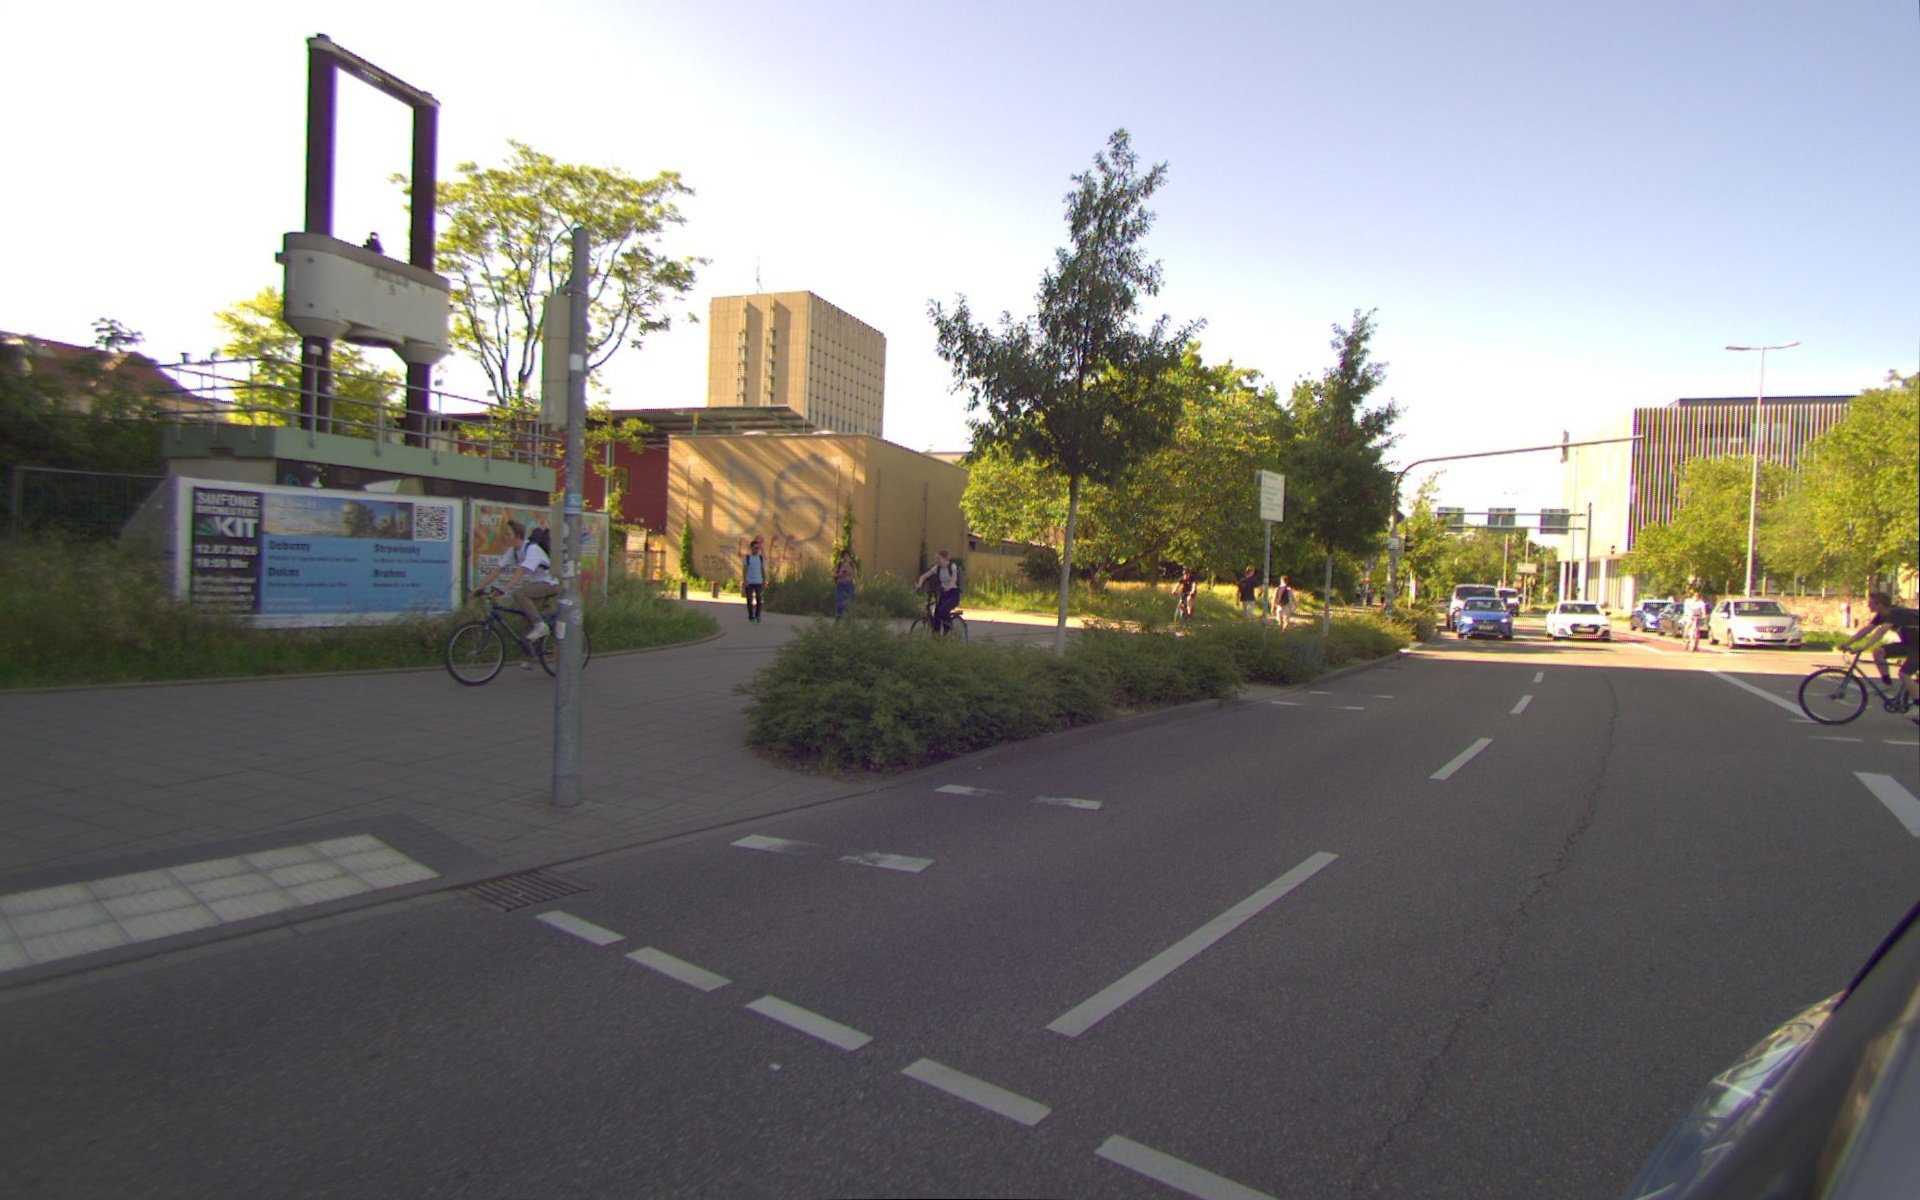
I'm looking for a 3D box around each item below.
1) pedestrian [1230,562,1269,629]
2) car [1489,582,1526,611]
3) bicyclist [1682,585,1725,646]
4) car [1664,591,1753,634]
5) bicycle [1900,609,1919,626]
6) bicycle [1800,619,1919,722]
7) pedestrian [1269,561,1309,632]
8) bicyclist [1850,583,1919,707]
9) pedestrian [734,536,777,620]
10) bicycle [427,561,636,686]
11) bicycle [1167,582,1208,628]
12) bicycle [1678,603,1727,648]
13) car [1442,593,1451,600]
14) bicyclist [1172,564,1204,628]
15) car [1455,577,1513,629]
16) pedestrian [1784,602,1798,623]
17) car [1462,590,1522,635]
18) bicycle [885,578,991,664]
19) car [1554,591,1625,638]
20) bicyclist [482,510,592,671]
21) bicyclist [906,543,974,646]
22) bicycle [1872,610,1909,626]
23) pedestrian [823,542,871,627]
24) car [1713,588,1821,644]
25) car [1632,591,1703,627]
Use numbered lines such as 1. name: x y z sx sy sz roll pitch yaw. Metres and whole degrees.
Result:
1. pedestrian: 7.938 -0.122 27.764 0.728 1.804 0.725 2 -1 40
2. car: 38.507 -0.250 71.238 1.919 1.977 4.493 1 1 25
3. bicyclist: 21.887 0.438 29.823 0.738 1.705 0.970 3 3 24
4. car: 29.685 0.445 40.300 1.964 1.574 4.682 1 1 26
5. bicycle: 64.616 1.203 68.197 0.782 1.090 2.081 3 -1 7
6. bicycle: 11.530 0.861 12.338 1.848 1.180 0.638 1 0 22
7. pedestrian: 8.742 -0.094 26.918 0.728 1.839 0.725 2 -1 40
8. bicyclist: 11.595 0.543 12.314 0.942 1.462 0.638 2 0 22
9. pedestrian: -4.185 -0.441 20.683 0.663 1.664 0.737 3 -1 -20
10. bicycle: -4.512 0.222 10.783 0.640 1.179 1.929 6 4 39
11. bicycle: 6.180 0.122 27.429 0.637 1.179 1.853 3 1 26
12. bicycle: 21.925 0.732 29.916 0.740 1.179 1.855 3 3 24
13. car: 107.096 -0.740 222.648 1.675 1.612 3.568 1 1 25
14. bicyclist: 6.189 -0.114 27.451 0.637 1.665 0.769 3 1 26
15. car: 21.450 0.119 41.560 1.919 1.977 4.715 1 1 26
16. pedestrian: 64.911 0.960 79.043 0.645 1.631 0.554 3 -1 20
17. car: 18.615 0.398 35.517 1.688 1.460 3.964 1 1 26
18. bicycle: -0.302 0.282 15.288 0.638 1.179 1.848 5 3 32
19. car: 22.447 0.472 36.235 1.984 1.487 3.957 3 2 30
20. bicyclist: -4.495 -0.111 10.756 0.629 1.614 0.820 7 4 40
21. bicyclist: -0.299 -0.092 15.233 0.639 1.462 0.767 5 3 34
22. bicycle: 64.834 1.234 70.529 0.782 1.090 2.081 3 -1 7
23. pedestrian: -2.317 -0.313 20.675 0.664 1.664 0.737 4 -1 -30
24. car: 25.861 0.463 32.593 1.771 1.645 4.277 1 1 26
25. car: 32.999 0.394 47.319 1.964 1.574 4.682 1 1 26
